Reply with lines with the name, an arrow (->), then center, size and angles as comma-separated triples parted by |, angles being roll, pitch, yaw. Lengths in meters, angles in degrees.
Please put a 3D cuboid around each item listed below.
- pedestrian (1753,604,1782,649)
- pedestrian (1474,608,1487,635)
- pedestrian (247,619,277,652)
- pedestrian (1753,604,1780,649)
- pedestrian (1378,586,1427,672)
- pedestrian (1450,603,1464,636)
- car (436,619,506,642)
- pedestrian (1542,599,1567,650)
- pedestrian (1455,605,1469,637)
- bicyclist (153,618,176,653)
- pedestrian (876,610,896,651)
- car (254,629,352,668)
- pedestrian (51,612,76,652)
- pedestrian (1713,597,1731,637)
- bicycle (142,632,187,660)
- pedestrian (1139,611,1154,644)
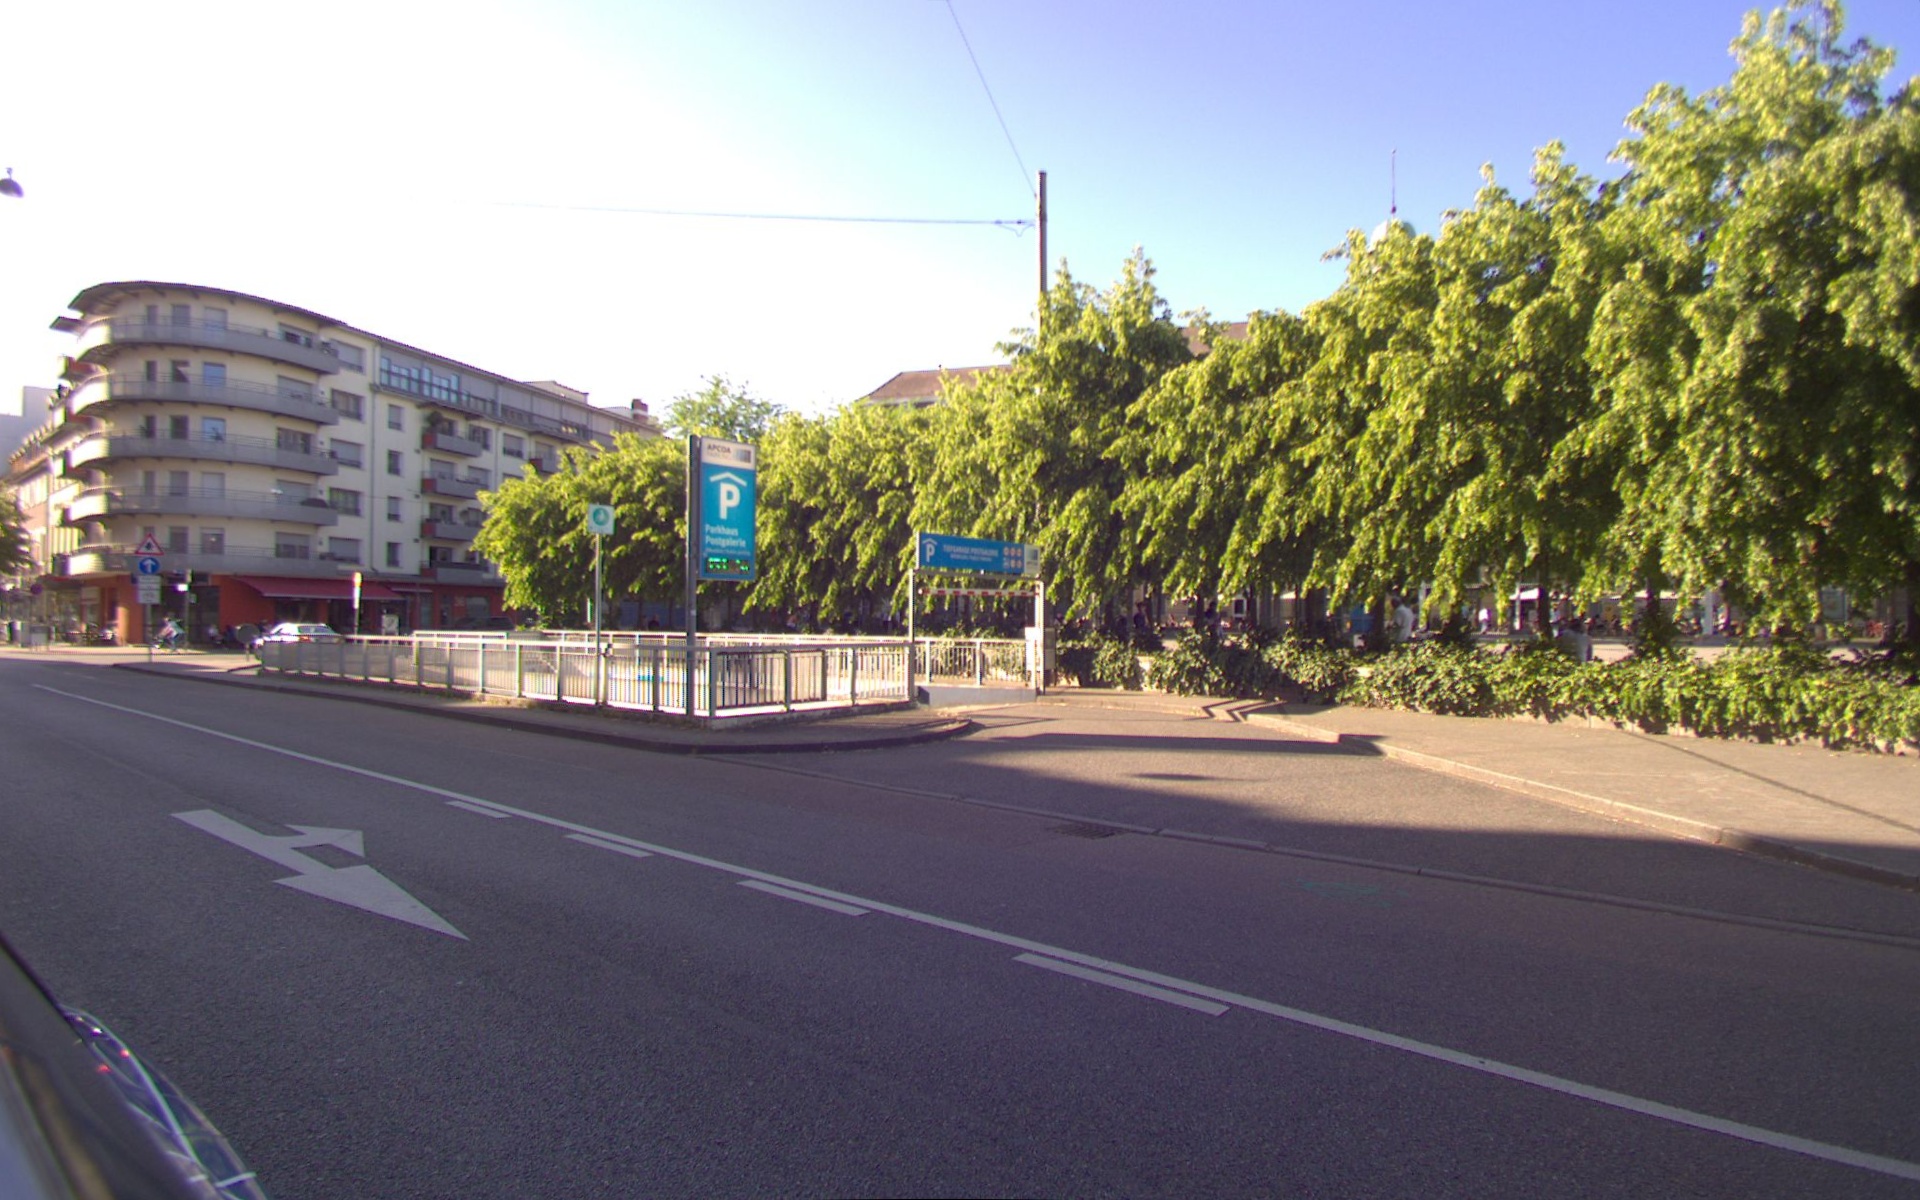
pedestrian -> 31.752, 1.037, 39.800 | 0.640, 1.734, 0.606 | -1, 0, 13
pedestrian -> 33.695, 1.389, 65.555 | 0.642, 1.734, 0.604 | -1, 0, 20
pedestrian -> -34.695, 1.770, 50.283 | 0.877, 1.607, 0.861 | -1, 0, 2
pedestrian -> 31.810, 1.036, 39.923 | 0.641, 1.734, 0.605 | -1, 0, 18
pedestrian -> 8.784, 0.562, 20.083 | 0.645, 1.661, 0.626 | -1, 0, -35
pedestrian -> 26.256, 1.036, 53.496 | 0.643, 1.734, 0.603 | -1, 0, 26
car -> -30.495, 1.888, 63.212 | 1.742, 1.311, 3.977 | -1, -1, 17
pedestrian -> 20.463, 0.834, 34.848 | 0.643, 1.734, 0.604 | -1, 0, 22
pedestrian -> 27.132, 1.120, 54.734 | 0.643, 1.734, 0.603 | -1, 0, 26
bicyclist -> -36.563, 1.636, 46.507 | 0.785, 1.559, 0.526 | -1, 0, -34
pedestrian -> -3.193, 1.303, 43.613 | 0.604, 1.734, 0.642 | -1, 0, 21
car -> -25.224, 1.833, 38.799 | 4.258, 1.363, 1.802 | 0, -3, 37
pedestrian -> -46.679, 1.671, 52.711 | 0.888, 2.029, 0.850 | -1, 0, 40
pedestrian -> 37.660, 0.830, 50.022 | 0.676, 1.963, 0.632 | -1, 0, 38
bicycle -> -36.540, 2.109, 46.517 | 1.567, 1.179, 0.529 | -1, 0, -34
pedestrian -> 9.909, 1.458, 53.820 | 0.606, 1.734, 0.640 | -1, 0, 31
